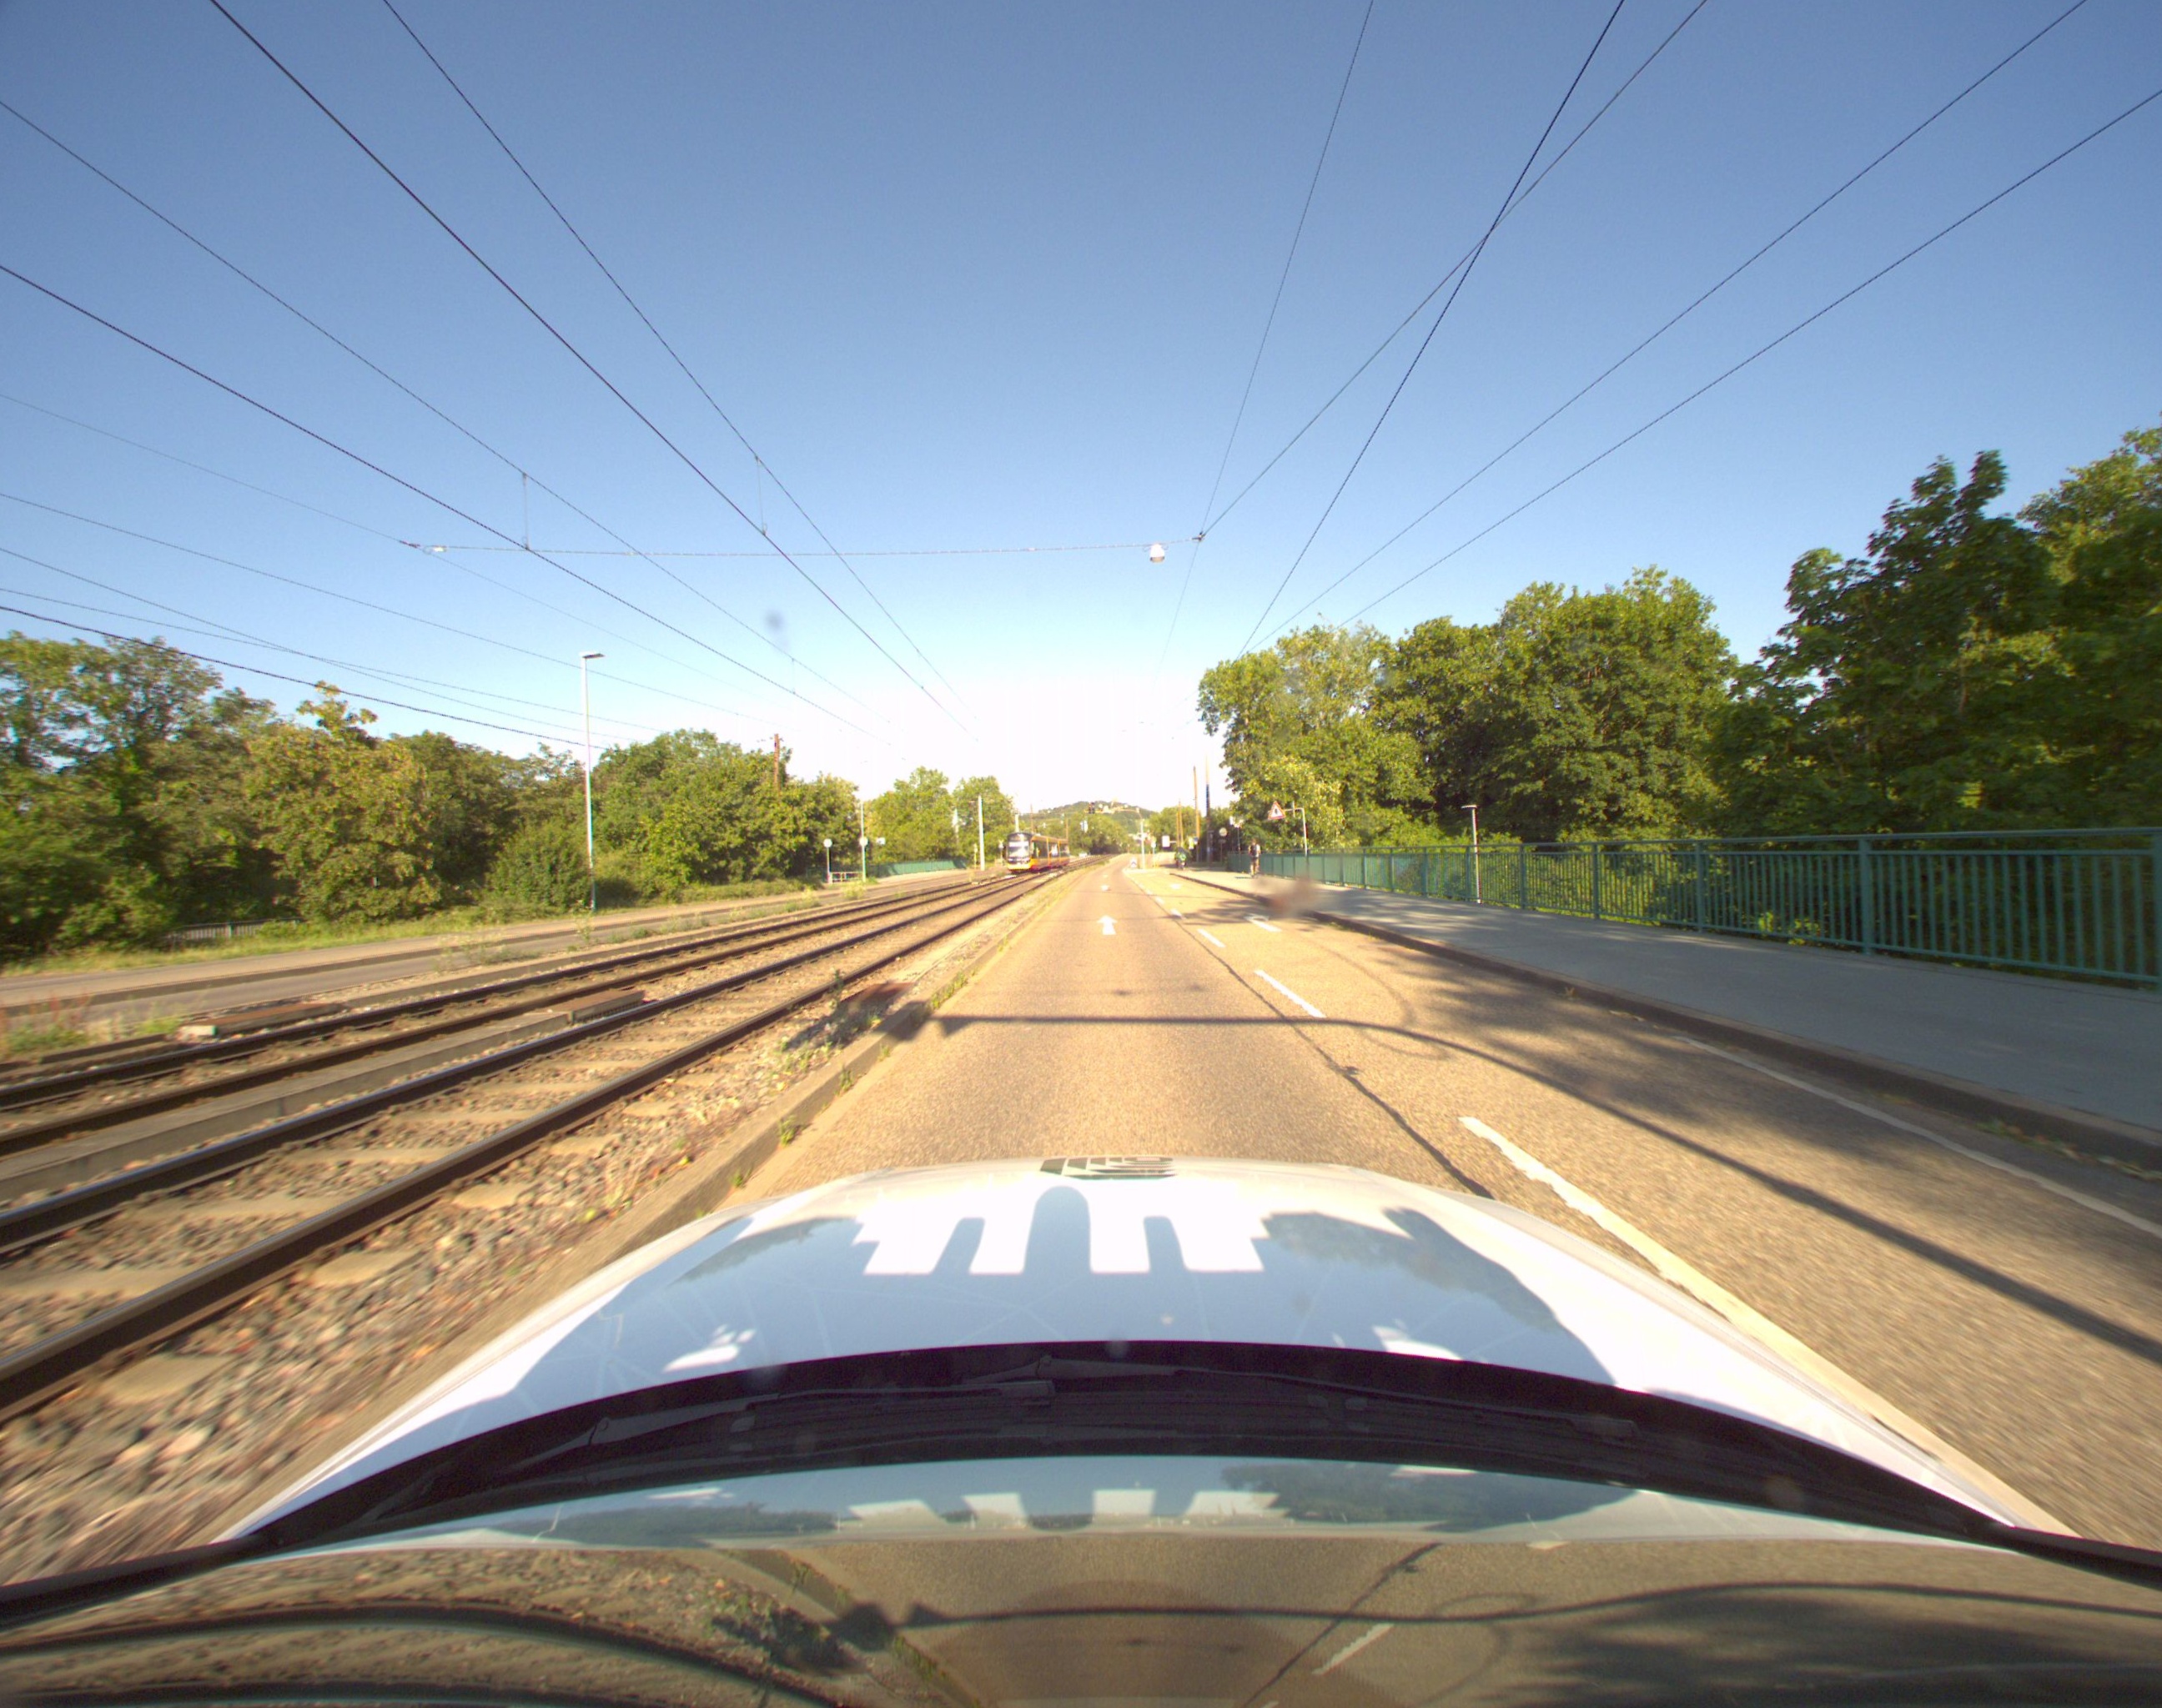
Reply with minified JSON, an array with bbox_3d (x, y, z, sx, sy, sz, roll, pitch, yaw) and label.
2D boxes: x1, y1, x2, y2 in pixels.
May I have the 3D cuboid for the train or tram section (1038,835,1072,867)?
[{"bbox_3d":[-2.908,-0.349,93.709,2.631,3.472,8.907,-2,0,5],"label":"train or tram section"}]

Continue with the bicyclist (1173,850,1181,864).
[{"bbox_3d":[9.369,0.284,79.431,0.602,1.379,0.975,-2,0,1],"label":"bicyclist"}]

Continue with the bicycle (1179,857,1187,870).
[{"bbox_3d":[8.964,0.814,71.432,0.513,1.042,1.976,-2,0,2],"label":"bicycle"}]

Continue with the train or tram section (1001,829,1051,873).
[{"bbox_3d":[-4.806,-0.244,73.054,2.631,3.567,10.848,-2,0,5],"label":"train or tram section"}]

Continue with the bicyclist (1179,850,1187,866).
[{"bbox_3d":[8.943,0.373,71.468,0.602,1.379,0.975,-2,0,1],"label":"bicyclist"}]

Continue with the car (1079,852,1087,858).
[{"bbox_3d":[0.563,0.321,206.003,1.943,1.486,4.001,-2,0,2],"label":"car"}]

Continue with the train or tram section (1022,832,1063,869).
[{"bbox_3d":[-3.834,-0.307,83.898,2.631,3.476,10.848,-2,0,5],"label":"train or tram section"}]

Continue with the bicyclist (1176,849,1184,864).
[{"bbox_3d":[9.241,0.260,76.093,0.602,1.379,0.975,-2,0,1],"label":"bicyclist"}]

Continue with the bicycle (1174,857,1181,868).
[{"bbox_3d":[9.395,0.796,79.443,0.537,1.042,1.976,-2,0,2],"label":"bicycle"}]

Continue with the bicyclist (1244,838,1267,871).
[{"bbox_3d":[8.272,0.010,38.624,0.821,1.520,0.975,-2,0,1],"label":"bicyclist"}]

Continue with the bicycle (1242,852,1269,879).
[{"bbox_3d":[8.294,0.527,38.799,0.725,1.176,2.696,-2,0,2],"label":"bicycle"}]
